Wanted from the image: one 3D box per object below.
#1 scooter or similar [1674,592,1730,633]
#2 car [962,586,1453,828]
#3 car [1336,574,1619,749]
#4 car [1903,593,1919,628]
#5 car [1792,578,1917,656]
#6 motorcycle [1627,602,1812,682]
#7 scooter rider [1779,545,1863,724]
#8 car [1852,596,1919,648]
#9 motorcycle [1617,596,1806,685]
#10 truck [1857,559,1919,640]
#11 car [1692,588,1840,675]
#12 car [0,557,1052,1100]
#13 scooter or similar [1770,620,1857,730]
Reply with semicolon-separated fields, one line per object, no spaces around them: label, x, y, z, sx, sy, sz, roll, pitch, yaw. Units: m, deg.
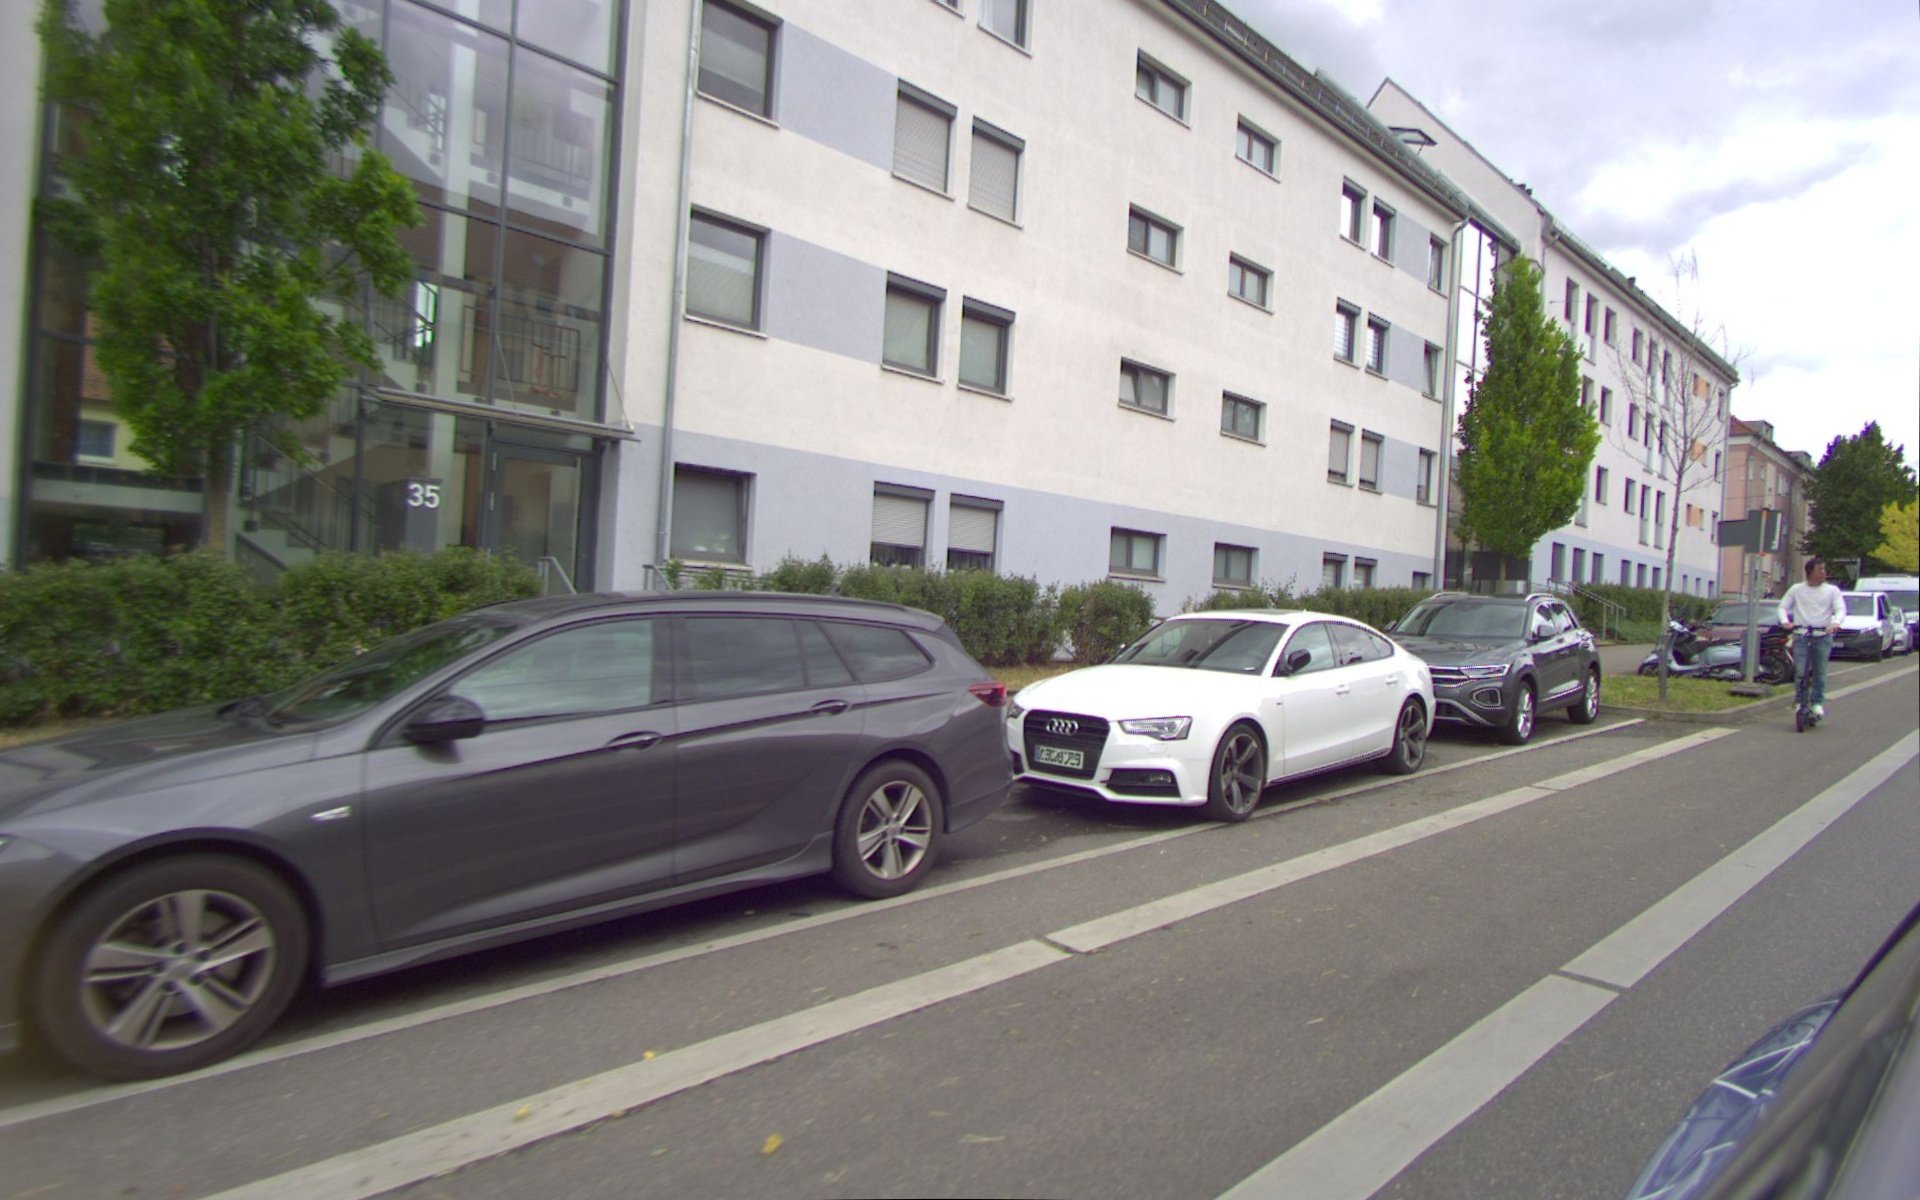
scooter or similar;21.018;0.346;28.685;0.460;1.118;1.387;1;1;-5
car;2.211;0.647;8.160;4.424;1.431;1.732;1;0;-43
car;6.123;0.600;11.734;4.283;1.671;1.633;1;0;-44
car;47.883;0.577;47.910;1.865;1.640;4.372;1;1;-18
car;24.957;0.436;28.161;5.121;1.968;1.997;1;1;-42
motorcycle;13.789;0.718;18.459;0.741;1.295;2.599;1;1;-44
scooter rider;10.227;0.391;12.022;0.744;2.039;0.626;1;0;-42
car;28.889;0.663;31.297;3.661;1.504;1.527;1;0;-41
motorcycle;13.247;0.667;17.933;0.681;1.398;2.599;1;1;-44
truck;32.682;-0.010;34.844;5.592;2.598;2.055;1;1;-42
car;16.373;0.582;20.489;4.265;1.564;1.683;1;1;-42
car;-1.860;0.635;4.659;4.864;1.486;1.748;1;0;-43
scooter or similar;10.135;0.846;11.985;2.039;1.178;0.491;1;1;-42
